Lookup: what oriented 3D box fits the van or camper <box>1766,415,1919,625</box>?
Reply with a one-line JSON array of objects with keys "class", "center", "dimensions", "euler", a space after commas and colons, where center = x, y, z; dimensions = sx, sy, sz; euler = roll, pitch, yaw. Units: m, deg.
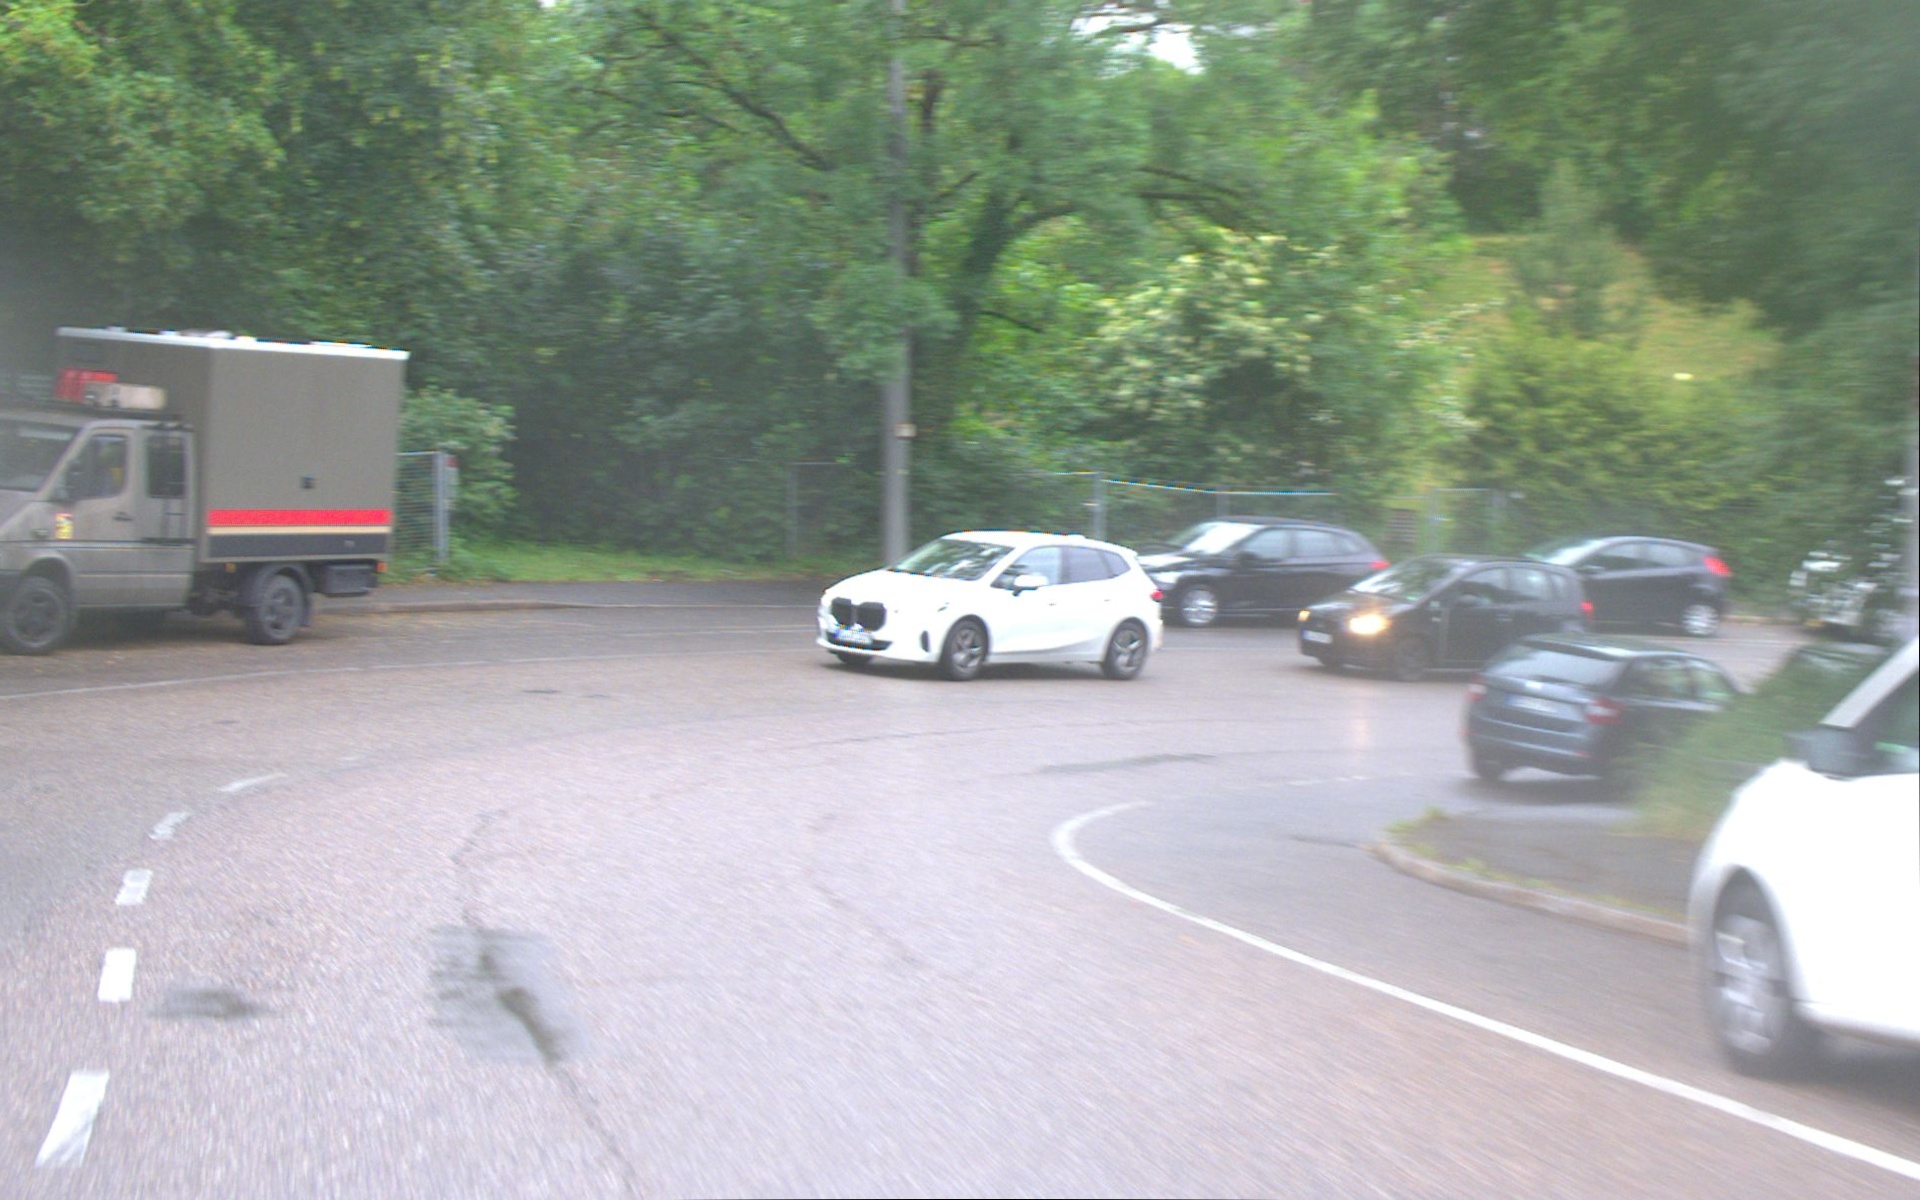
[{"class": "van or camper", "center": [16.521, -1.118, 52.618], "dimensions": [7.634, 2.921, 2.203], "euler": [2, 7, -7]}]

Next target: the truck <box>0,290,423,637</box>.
[{"class": "truck", "center": [-8.118, -1.344, 33.974], "dimensions": [2.036, 3.092, 6.605], "euler": [6, 3, 25]}]

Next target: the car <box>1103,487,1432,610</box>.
[{"class": "car", "center": [4.345, -0.722, 48.460], "dimensions": [4.298, 1.460, 1.785], "euler": [1, 7, -32]}]

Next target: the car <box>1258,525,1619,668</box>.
[{"class": "car", "center": [5.977, -0.041, 42.949], "dimensions": [4.071, 1.513, 1.767], "euler": [2, 3, -26]}]

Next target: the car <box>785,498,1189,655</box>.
[{"class": "car", "center": [0.353, -0.240, 38.410], "dimensions": [4.443, 1.564, 1.803], "euler": [1, 3, -44]}]

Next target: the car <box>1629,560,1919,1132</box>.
[{"class": "car", "center": [3.305, 0.660, 9.145], "dimensions": [1.584, 1.496, 3.668], "euler": [1, 0, -14]}]

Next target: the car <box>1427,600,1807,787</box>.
[{"class": "car", "center": [6.282, 0.859, 32.572], "dimensions": [1.653, 1.459, 4.023], "euler": [9, 5, 39]}]

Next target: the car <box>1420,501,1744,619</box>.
[{"class": "car", "center": [9.208, -0.589, 50.968], "dimensions": [4.297, 1.351, 1.760], "euler": [3, 6, -17]}]
